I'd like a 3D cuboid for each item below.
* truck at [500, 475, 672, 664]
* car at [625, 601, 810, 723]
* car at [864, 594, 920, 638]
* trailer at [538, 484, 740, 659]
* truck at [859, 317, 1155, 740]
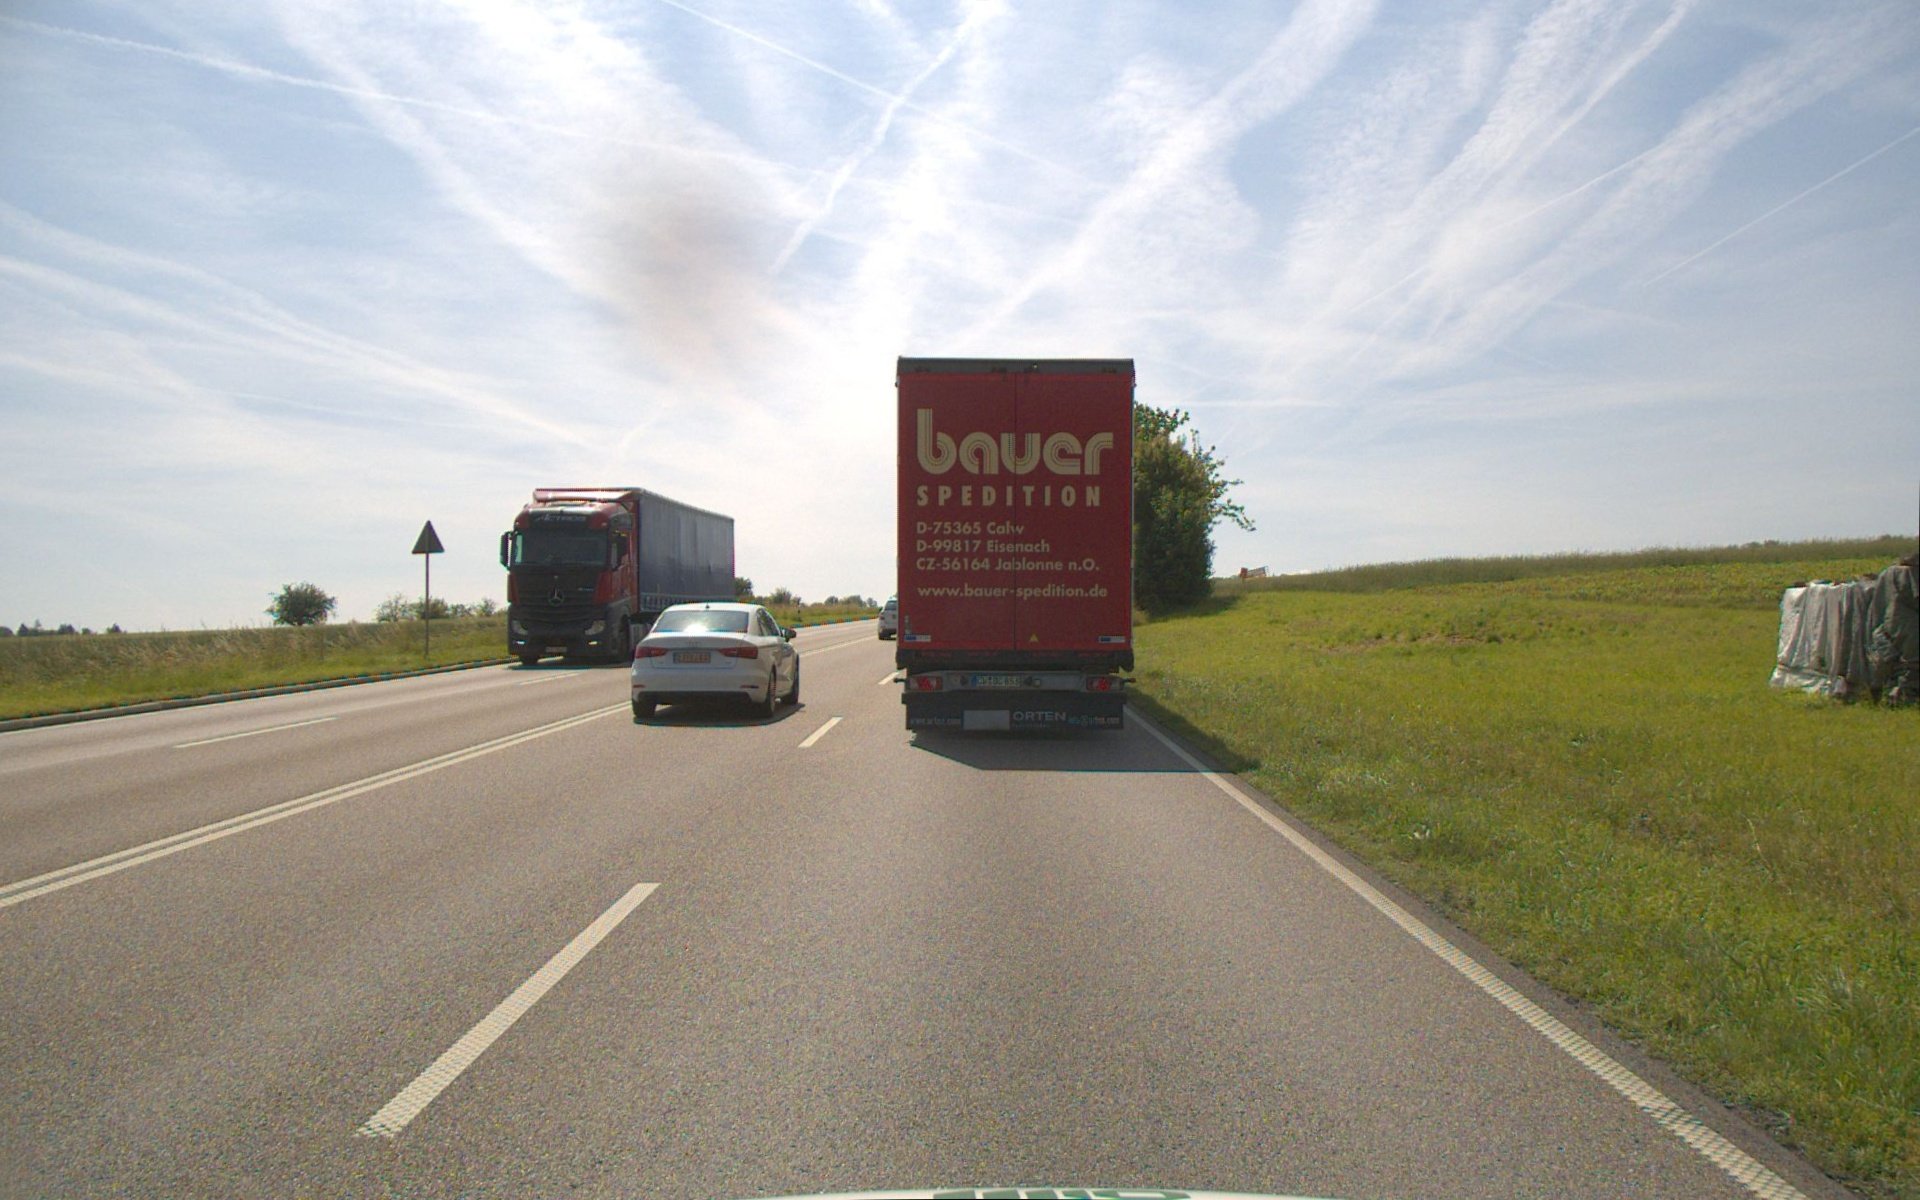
[{"bbox_3d":[-8.908,-0.687,40.098,2.562,4.173,6.089,-1,0,2],"label":"truck"},{"bbox_3d":[-3.059,0.729,21.751,1.668,1.400,4.604,1,0,1],"label":"car"},{"bbox_3d":[-2.430,0.546,60.173,1.783,1.498,4.788,1,0,0],"label":"car"},{"bbox_3d":[-8.673,-0.700,46.751,2.492,4.173,13.587,-1,0,2],"label":"trailer"},{"bbox_3d":[0.442,-0.710,25.238,2.945,4.253,16.712,1,0,0],"label":"truck"}]
